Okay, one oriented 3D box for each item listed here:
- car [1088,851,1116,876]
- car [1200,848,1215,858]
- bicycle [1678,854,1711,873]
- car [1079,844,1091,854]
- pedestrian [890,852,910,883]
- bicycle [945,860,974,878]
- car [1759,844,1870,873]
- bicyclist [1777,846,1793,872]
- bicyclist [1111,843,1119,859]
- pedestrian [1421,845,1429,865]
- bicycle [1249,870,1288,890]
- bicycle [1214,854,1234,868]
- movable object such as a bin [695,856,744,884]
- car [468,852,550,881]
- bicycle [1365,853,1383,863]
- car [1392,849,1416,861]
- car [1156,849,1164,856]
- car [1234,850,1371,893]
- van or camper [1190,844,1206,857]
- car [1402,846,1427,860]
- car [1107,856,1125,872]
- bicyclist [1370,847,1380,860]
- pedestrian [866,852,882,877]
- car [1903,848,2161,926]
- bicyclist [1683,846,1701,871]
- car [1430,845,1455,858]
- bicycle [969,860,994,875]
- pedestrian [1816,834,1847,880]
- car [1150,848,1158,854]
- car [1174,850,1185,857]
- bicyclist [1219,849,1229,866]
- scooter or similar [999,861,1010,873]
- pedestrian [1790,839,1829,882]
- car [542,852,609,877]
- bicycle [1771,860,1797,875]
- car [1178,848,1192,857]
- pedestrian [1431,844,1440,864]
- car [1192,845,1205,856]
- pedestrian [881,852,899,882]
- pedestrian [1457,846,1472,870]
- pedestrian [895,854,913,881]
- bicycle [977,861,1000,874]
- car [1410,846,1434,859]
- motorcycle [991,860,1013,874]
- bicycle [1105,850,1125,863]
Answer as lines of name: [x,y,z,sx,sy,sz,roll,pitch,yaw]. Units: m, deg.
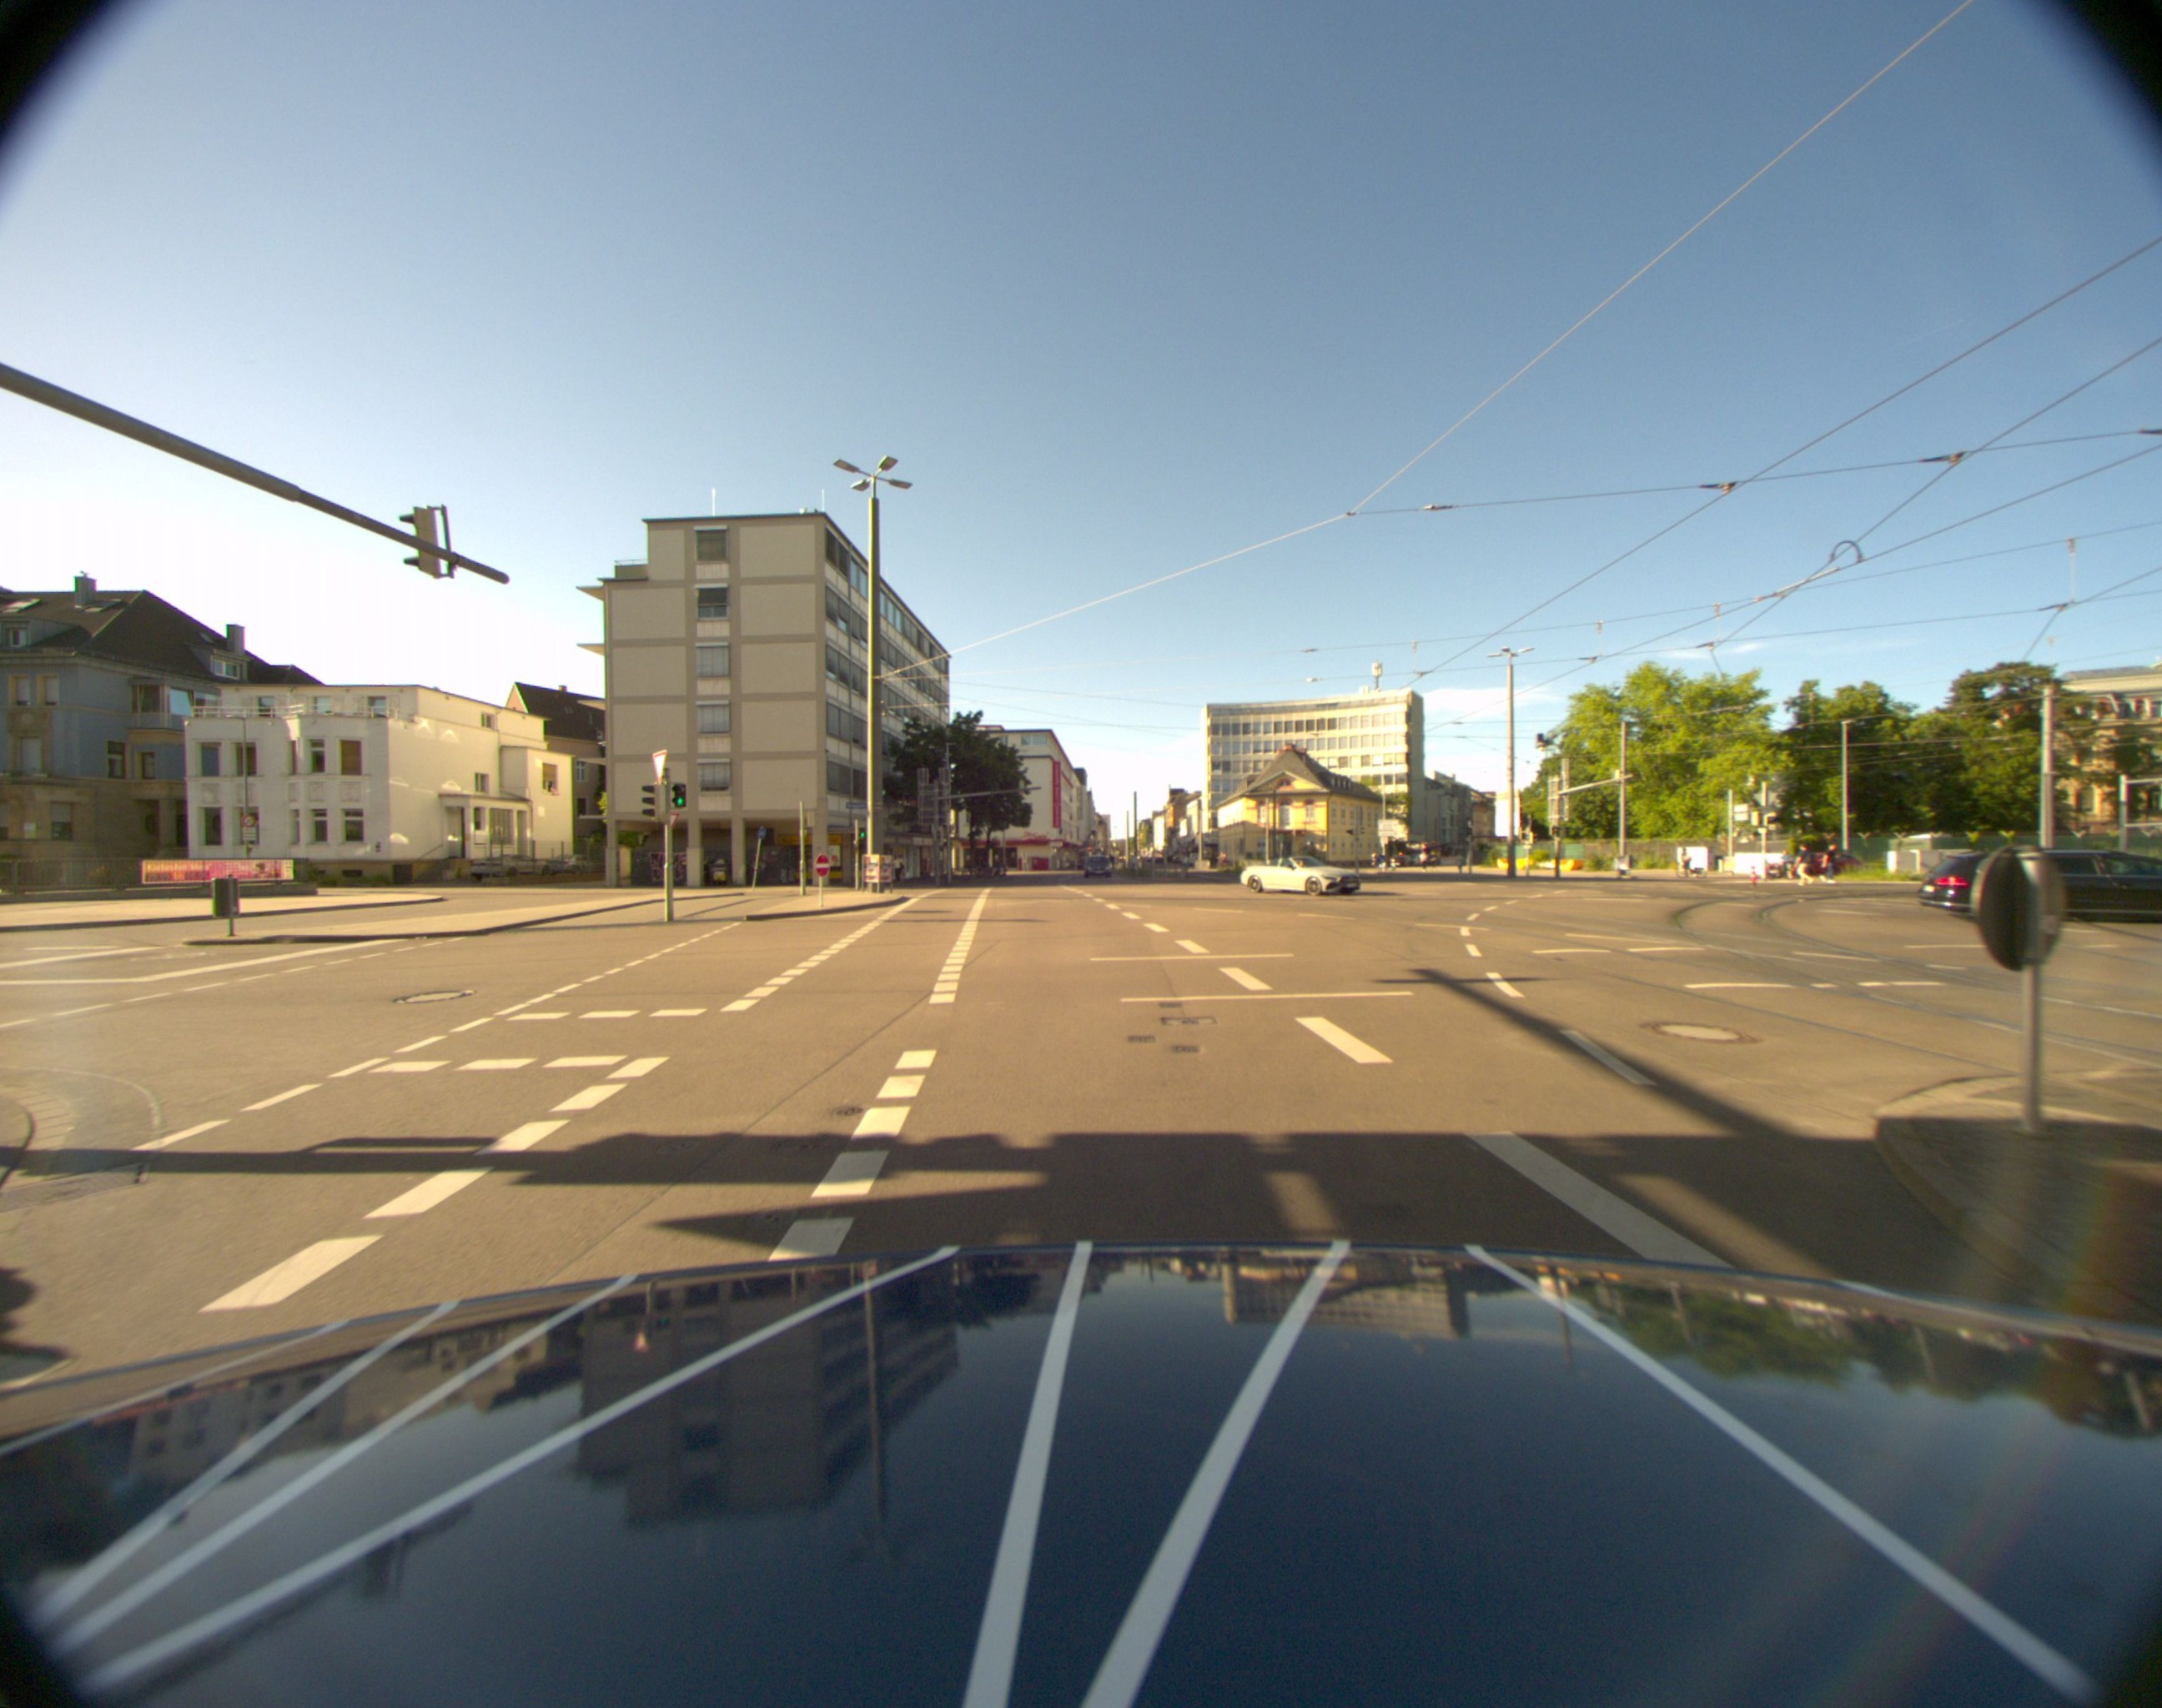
car: [1.511,0.625,53.613,1.737,1.654,3.962,1,1,4]
car: [18.428,-0.182,111.183,1.781,1.430,3.962,-2,0,4]
bicycle: [36.054,0.550,44.663,1.499,1.127,0.612,-1,1,-1]
car: [0.703,-0.857,125.751,1.782,1.654,4.164,1,1,4]
pedestrian: [-10.074,0.767,42.318,0.845,1.697,0.880,-1,1,5]
bicycle: [-8.230,0.992,51.521,1.893,1.150,0.480,1,1,6]
car: [40.149,0.225,41.631,4.563,1.500,1.782,1,0,-5]
bicyclist: [35.419,0.259,38.226,0.460,1.308,0.399,-1,1,-11]
bicyclist: [3.130,-0.284,70.789,0.683,1.514,0.634,-1,1,-2]
pedestrian: [31.965,0.091,70.634,0.595,1.807,0.705,0,1,16]
bicycle: [8.893,1.240,35.999,1.715,0.895,0.521,-1,1,1]
bicycle: [14.191,0.686,75.132,2.030,1.283,0.574,-1,1,-28]
movable object such as a bin: [-19.634,0.879,41.349,1.913,1.461,1.452,0,2,6]
car: [-33.396,0.698,44.515,1.800,1.549,4.025,0,0,-1]
bicycle: [32.774,0.455,84.945,1.887,1.007,0.650,-1,1,-22]
car: [37.164,0.099,87.395,1.646,1.339,3.767,0,1,39]
car: [17.703,-0.434,170.083,1.688,1.551,4.123,-1,1,3]
car: [8.020,0.589,27.962,1.873,1.431,4.762,-1,1,-33]
van or camper: [18.865,-0.527,122.656,1.959,1.962,4.798,-2,1,3]
car: [40.412,-0.153,92.054,1.888,1.660,3.871,0,1,37]
car: [3.882,1.120,83.694,1.782,1.654,3.962,1,1,4]
bicyclist: [32.862,-0.047,84.968,0.731,1.445,0.664,-1,1,-21]
pedestrian: [-12.020,0.592,44.126,0.646,1.414,0.621,-1,1,7]
car: [19.892,0.610,15.128,4.516,1.435,1.774,-1,0,37]
bicyclist: [35.921,0.267,44.668,0.616,1.484,0.609,-1,1,-1]
car: [47.364,-0.333,99.519,1.797,1.660,3.764,0,1,43]
bicycle: [-7.670,1.063,58.520,1.814,1.145,0.435,0,1,1]
pedestrian: [31.746,0.135,32.158,0.723,1.922,0.799,0,1,26]
car: [19.454,-0.800,203.356,1.781,1.500,4.669,1,0,0]
car: [20.679,-0.109,159.603,1.786,1.408,3.598,-1,1,2]
bicyclist: [14.112,0.332,75.095,0.807,1.640,0.589,-2,3,-28]
scooter or similar: [-6.721,1.154,66.667,0.965,1.021,0.160,0,1,8]
pedestrian: [29.632,0.255,30.908,0.697,1.700,0.930,-1,1,-1]
car: [-33.652,0.649,50.672,1.786,1.551,4.024,0,0,-1]
bicycle: [35.382,0.684,38.236,1.176,0.759,0.320,-1,1,-11]
car: [18.608,-0.283,136.084,1.930,1.444,4.293,-2,0,0]
pedestrian: [32.825,0.021,70.359,0.706,1.841,0.740,-1,1,16]
car: [18.086,-0.605,117.006,1.780,1.611,4.177,-2,1,6]
pedestrian: [-10.943,0.735,43.524,0.880,1.711,0.845,-1,1,-7]
pedestrian: [28.200,0.295,55.906,0.626,1.678,0.705,-1,-1,-7]
pedestrian: [-10.748,0.796,46.195,0.845,1.593,0.880,-1,1,5]
bicycle: [-7.567,1.121,62.490,1.856,1.050,0.399,1,1,-6]
car: [43.257,-0.204,96.414,1.797,1.660,3.764,0,1,40]
motorcycle: [-6.715,1.090,64.595,1.790,1.123,0.504,-1,1,6]
bicycle: [3.174,0.207,70.800,1.825,1.205,0.641,-1,1,-2]
